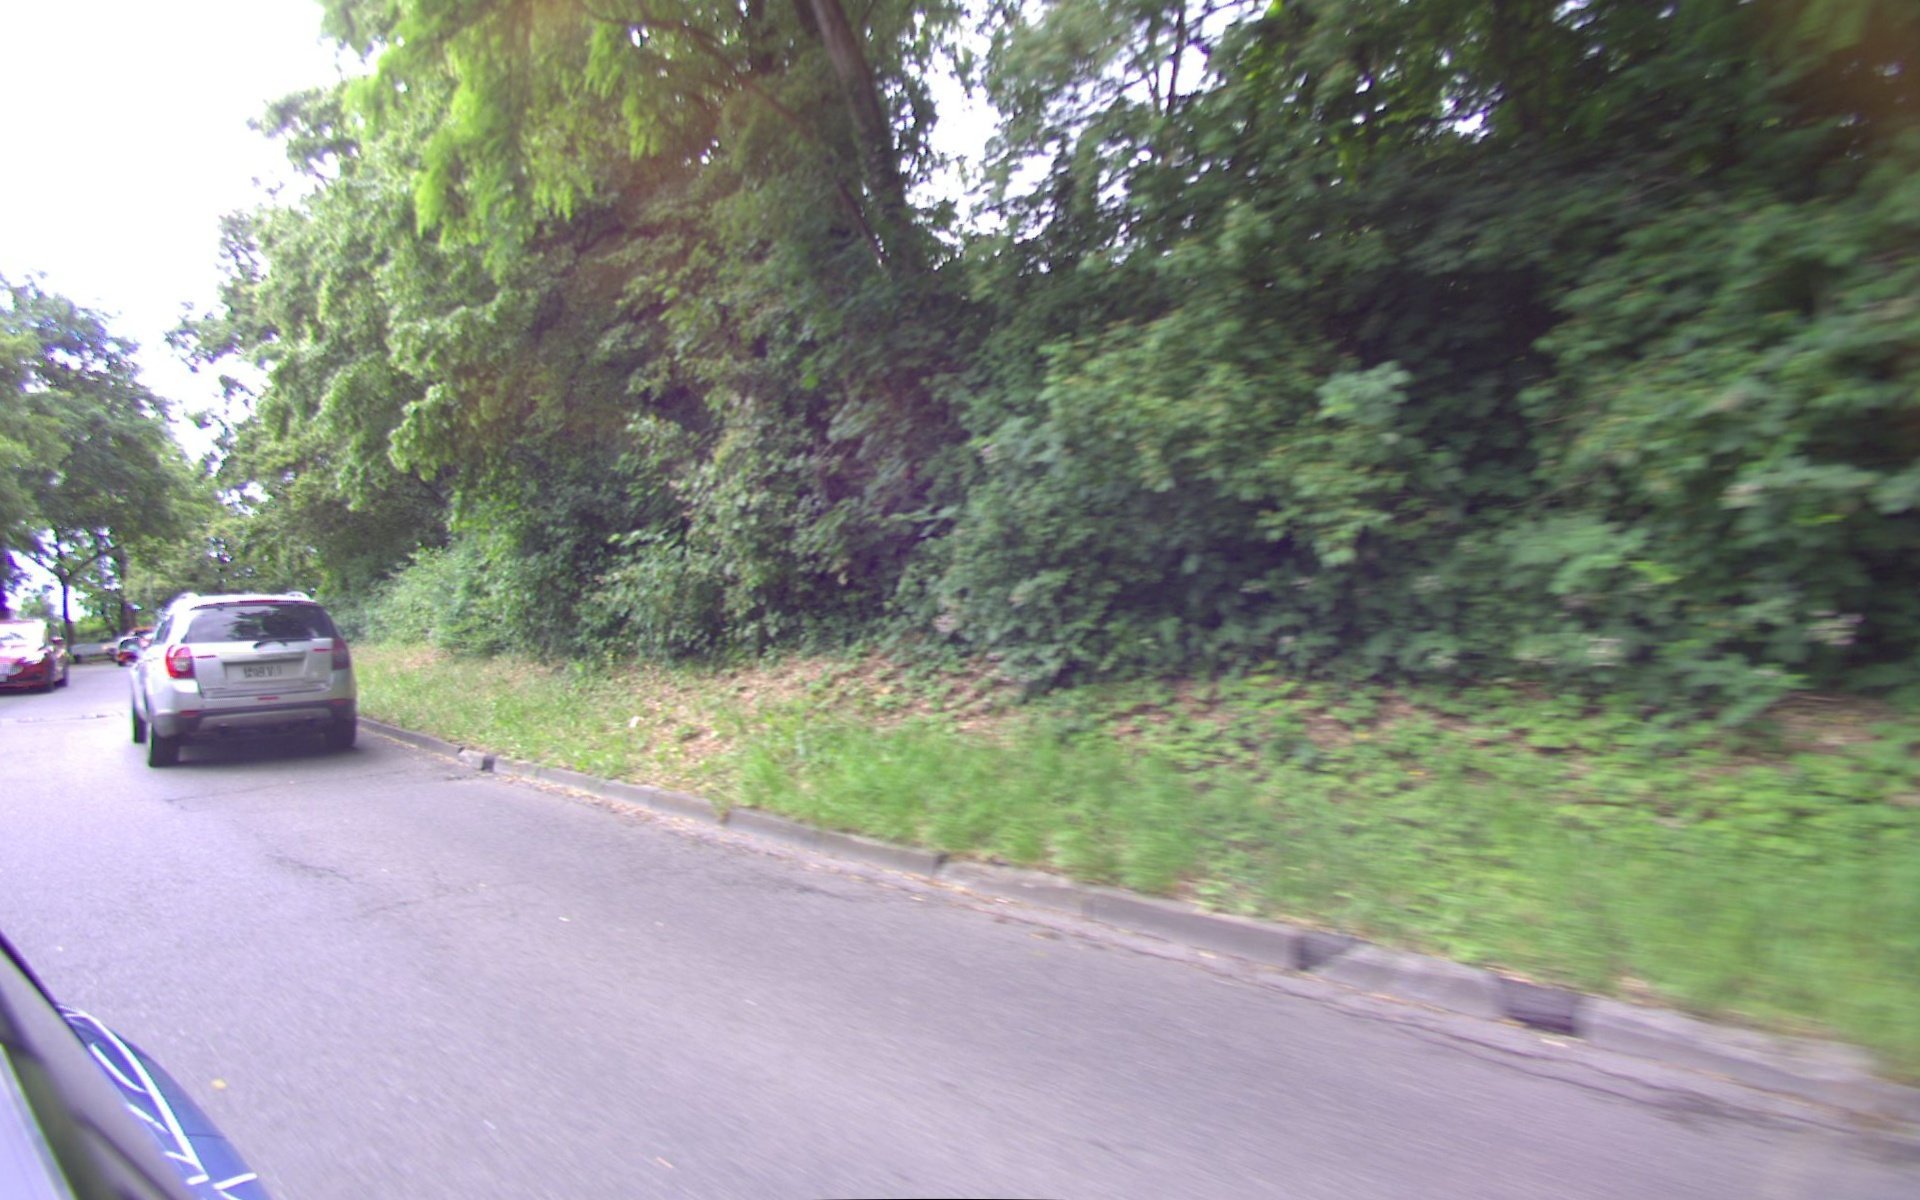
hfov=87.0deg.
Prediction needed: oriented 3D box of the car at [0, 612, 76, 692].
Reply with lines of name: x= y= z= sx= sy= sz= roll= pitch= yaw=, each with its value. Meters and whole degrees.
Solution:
car: x=-21.588 y=1.118 z=22.919 sx=1.972 sy=1.621 sz=4.687 roll=-1 pitch=0 yaw=-37

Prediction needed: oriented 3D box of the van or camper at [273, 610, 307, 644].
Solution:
van or camper: x=-49.232 y=1.935 z=74.419 sx=1.966 sy=2.361 sz=5.043 roll=-1 pitch=0 yaw=-33

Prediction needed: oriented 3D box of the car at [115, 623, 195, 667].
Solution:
car: x=-31.212 y=1.699 z=39.361 sx=1.926 sy=1.483 sz=4.690 roll=-1 pitch=0 yaw=-33

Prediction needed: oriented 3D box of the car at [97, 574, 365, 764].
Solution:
car: x=-8.369 y=0.685 z=11.452 sx=1.799 sy=1.741 sz=4.315 roll=3 pitch=-3 yaw=-44
